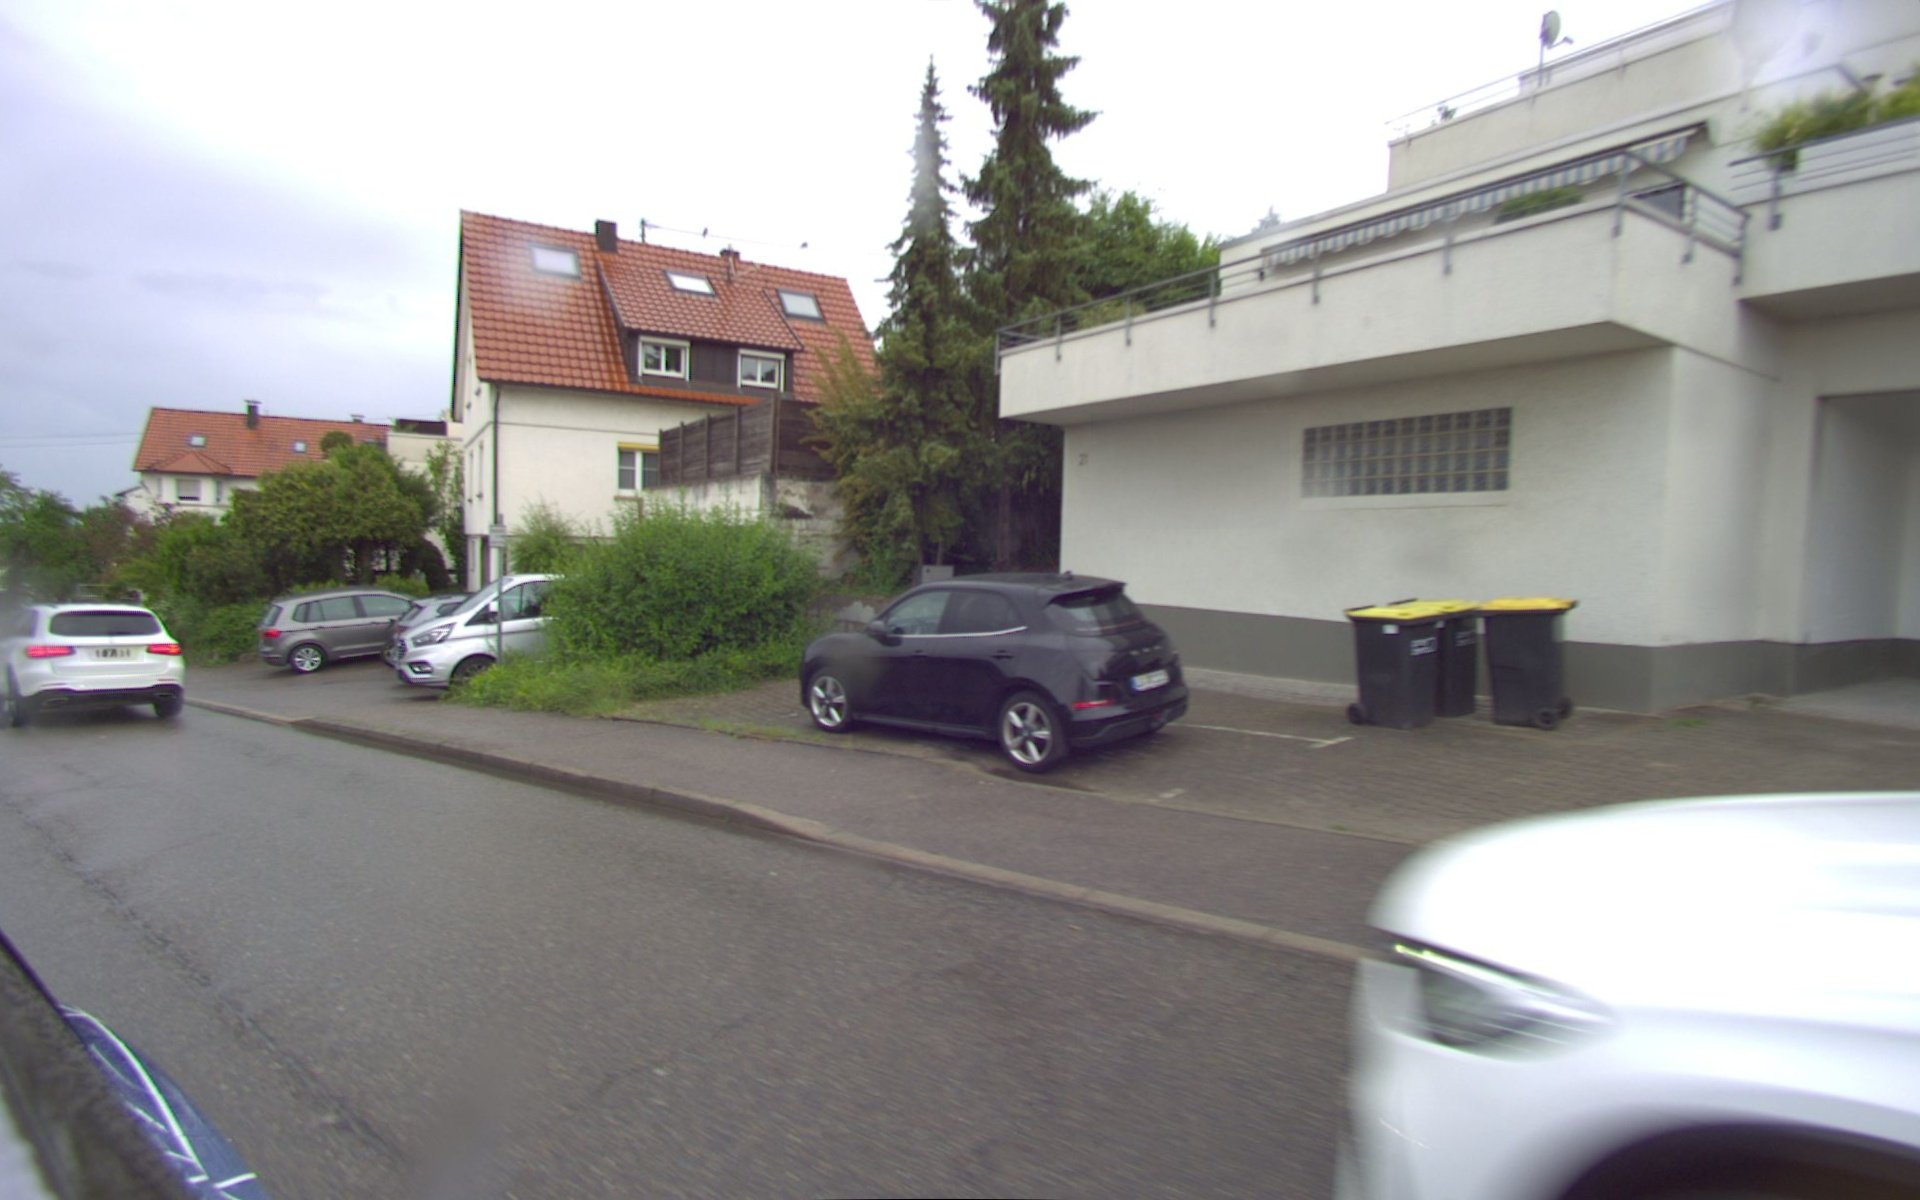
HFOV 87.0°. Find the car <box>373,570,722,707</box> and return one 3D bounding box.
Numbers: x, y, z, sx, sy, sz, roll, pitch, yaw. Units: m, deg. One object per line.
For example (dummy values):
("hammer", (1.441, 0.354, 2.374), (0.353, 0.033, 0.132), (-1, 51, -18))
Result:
("car", (-6.730, 0.581, 16.709), (5.015, 1.959, 2.147), (1, -1, -33))

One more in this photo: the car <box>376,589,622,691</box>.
("car", (-8.723, 0.674, 19.230), (4.000, 1.650, 1.899), (-2, 1, -33))

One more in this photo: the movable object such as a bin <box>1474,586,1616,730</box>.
("movable object such as a bin", (4.908, 0.454, 8.501), (0.715, 1.078, 0.769), (-5, 4, -31))

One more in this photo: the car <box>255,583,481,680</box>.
("car", (-12.838, 0.602, 22.027), (4.002, 1.704, 1.898), (-5, 3, -36))

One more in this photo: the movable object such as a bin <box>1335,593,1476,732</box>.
("movable object such as a bin", (3.904, 0.517, 8.894), (0.715, 1.078, 0.852), (-5, 4, -31))

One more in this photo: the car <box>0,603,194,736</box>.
("car", (-12.960, 0.906, 14.720), (4.423, 1.620, 1.887), (-1, 0, 39))

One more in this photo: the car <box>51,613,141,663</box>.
("car", (-30.446, 1.287, 35.617), (4.415, 1.609, 1.784), (0, -1, 41))

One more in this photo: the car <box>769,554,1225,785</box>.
("car", (0.172, 0.526, 9.628), (4.198, 1.599, 1.671), (-1, 6, 44))

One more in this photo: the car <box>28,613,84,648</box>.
("car", (-40.619, 1.337, 45.463), (1.745, 1.386, 4.253), (-4, 3, -42))

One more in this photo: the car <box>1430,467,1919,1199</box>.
("car", (2.922, 0.601, 0.703), (4.382, 1.579, 1.780), (-1, 0, 41))

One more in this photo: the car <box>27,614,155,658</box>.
("car", (-36.399, 1.529, 42.527), (3.776, 1.489, 1.808), (7, -5, -34))

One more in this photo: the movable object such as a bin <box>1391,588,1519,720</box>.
("movable object such as a bin", (4.522, 0.463, 9.260), (0.715, 1.078, 0.769), (-5, 4, -31))
